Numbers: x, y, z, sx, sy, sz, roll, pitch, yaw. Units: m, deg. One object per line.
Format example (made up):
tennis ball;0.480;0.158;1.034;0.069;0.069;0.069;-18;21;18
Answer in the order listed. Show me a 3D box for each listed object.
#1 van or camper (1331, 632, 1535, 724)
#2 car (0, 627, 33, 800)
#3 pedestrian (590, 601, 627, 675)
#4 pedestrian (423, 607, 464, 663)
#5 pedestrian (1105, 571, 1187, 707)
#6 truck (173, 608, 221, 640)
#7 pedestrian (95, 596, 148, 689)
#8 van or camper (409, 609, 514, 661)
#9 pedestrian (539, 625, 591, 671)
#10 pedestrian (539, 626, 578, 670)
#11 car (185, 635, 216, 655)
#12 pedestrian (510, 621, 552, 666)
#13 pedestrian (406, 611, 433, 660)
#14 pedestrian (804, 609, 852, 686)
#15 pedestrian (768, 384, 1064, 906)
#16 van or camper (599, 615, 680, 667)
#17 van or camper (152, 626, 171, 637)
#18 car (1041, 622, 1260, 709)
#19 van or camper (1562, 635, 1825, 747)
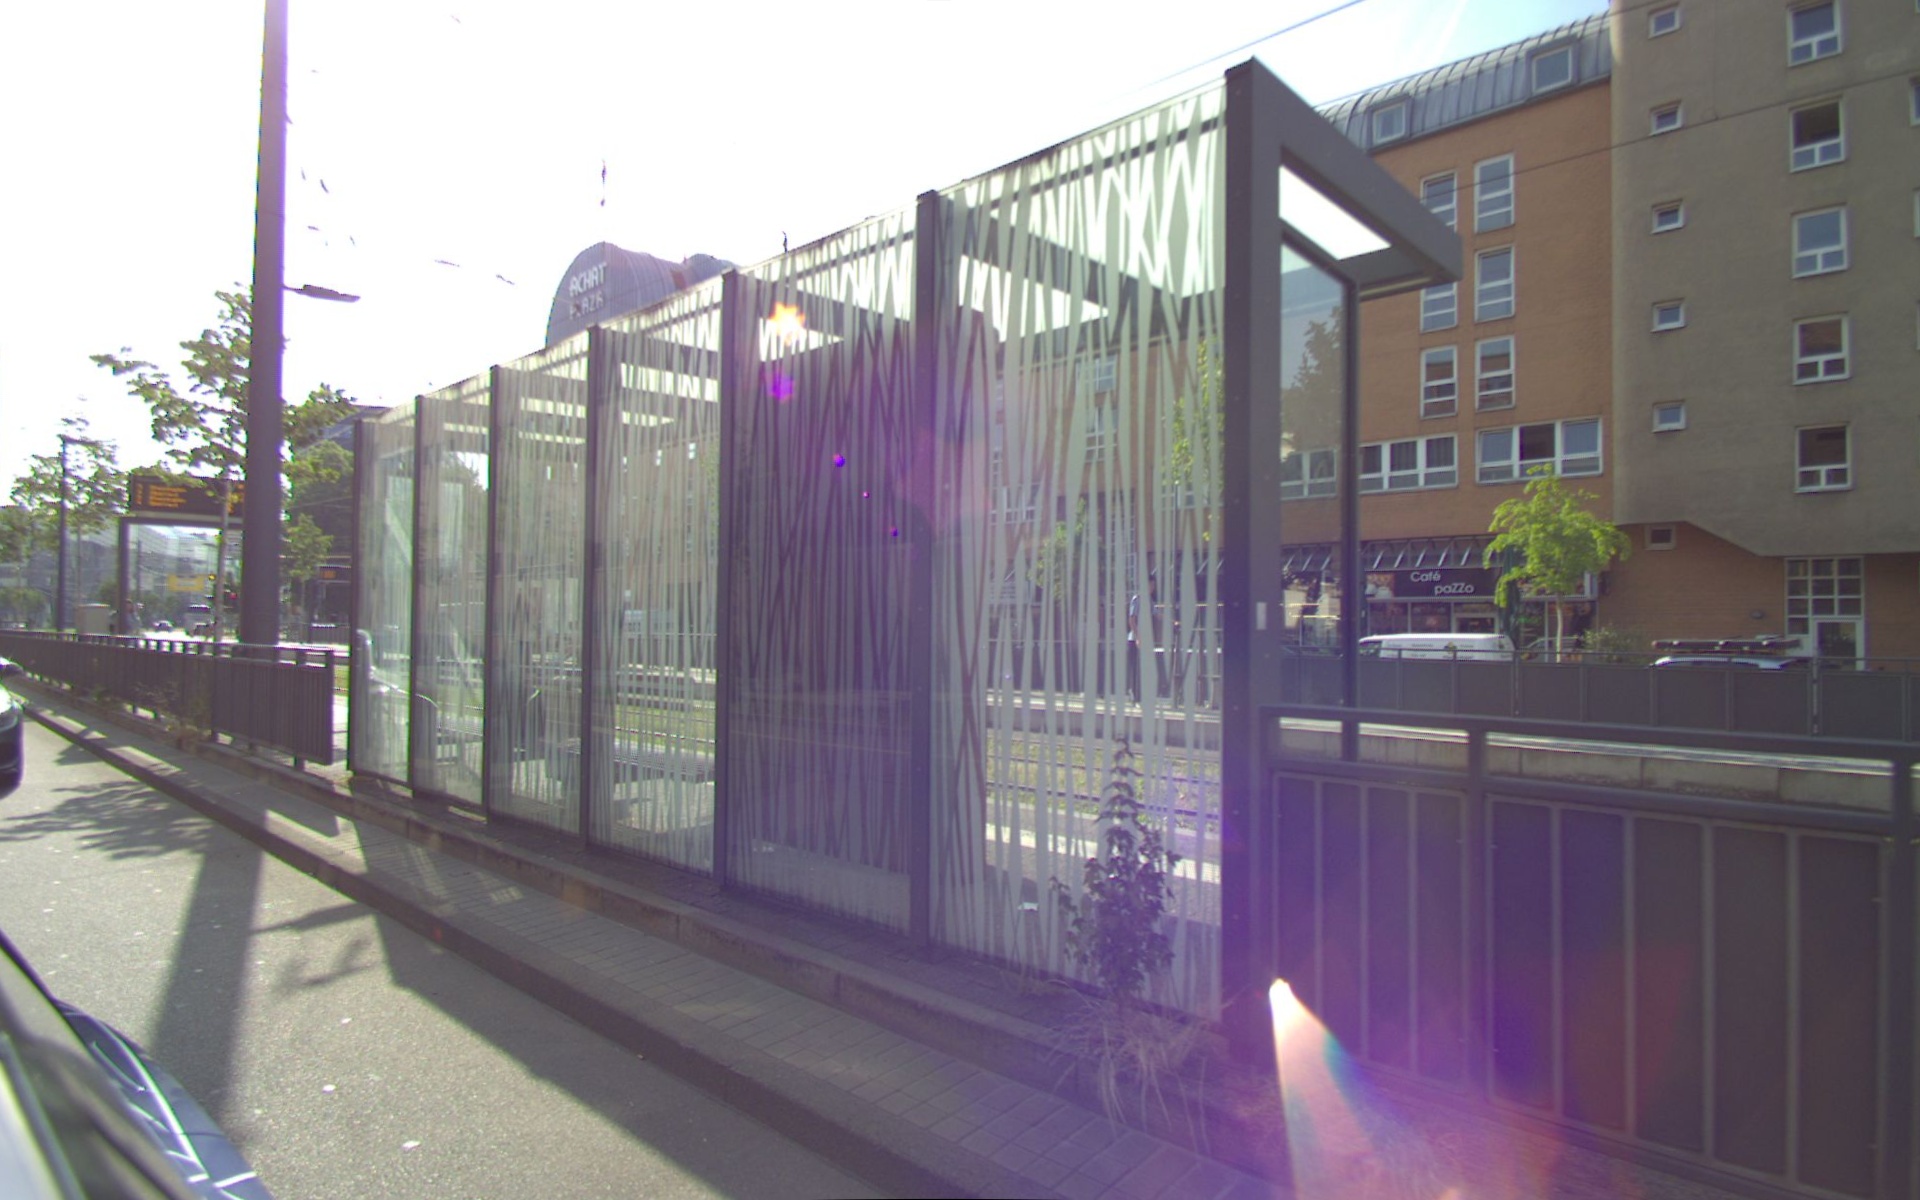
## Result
van or camper;11.325;1.787;24.412;1.970;2.029;4.004;2;-3;-43
car;-9.963;0.957;9.193;4.235;1.403;1.882;-1;-1;42
pedestrian;-9.090;0.982;26.162;0.793;1.900;0.556;1;-2;-28
pedestrian;-16.739;1.138;32.804;0.825;1.760;0.784;1;-3;6
pedestrian;2.702;0.556;14.698;0.939;1.886;0.731;-1;-3;43
truck;-95.874;2.983;127.043;3.124;3.805;12.367;3;-3;-44
pedestrian;-16.405;0.818;19.807;0.727;1.771;0.666;-1;0;41
van or camper;-20.775;1.440;42.049;5.340;2.029;2.060;-1;-3;42
pedestrian;-11.043;1.351;28.278;0.675;1.255;1.141;-1;-3;41
pedestrian;-11.464;1.366;28.913;0.675;1.255;0.783;-1;-3;41
car;-80.155;4.743;106.822;4.001;2.029;1.971;-1;-3;44
pedestrian;-12.837;1.292;30.313;0.808;1.324;0.860;-1;-3;39
pedestrian;-20.015;1.316;37.470;0.698;1.774;0.644;-1;0;43
pedestrian;-2.683;0.961;20.640;0.803;1.542;0.675;0;-2;11
pedestrian;-0.200;0.175;4.580;1.027;2.029;0.825;-1;0;39
van or camper;-18.269;2.279;57.511;5.352;2.823;1.972;-1;-3;43
van or camper;-114.695;4.534;145.421;1.815;1.564;4.010;2;-3;-35
car;4.328;1.444;23.408;4.629;1.819;1.973;-1;-3;41
van or camper;14.706;1.721;20.429;1.907;1.983;4.004;2;-3;-43
